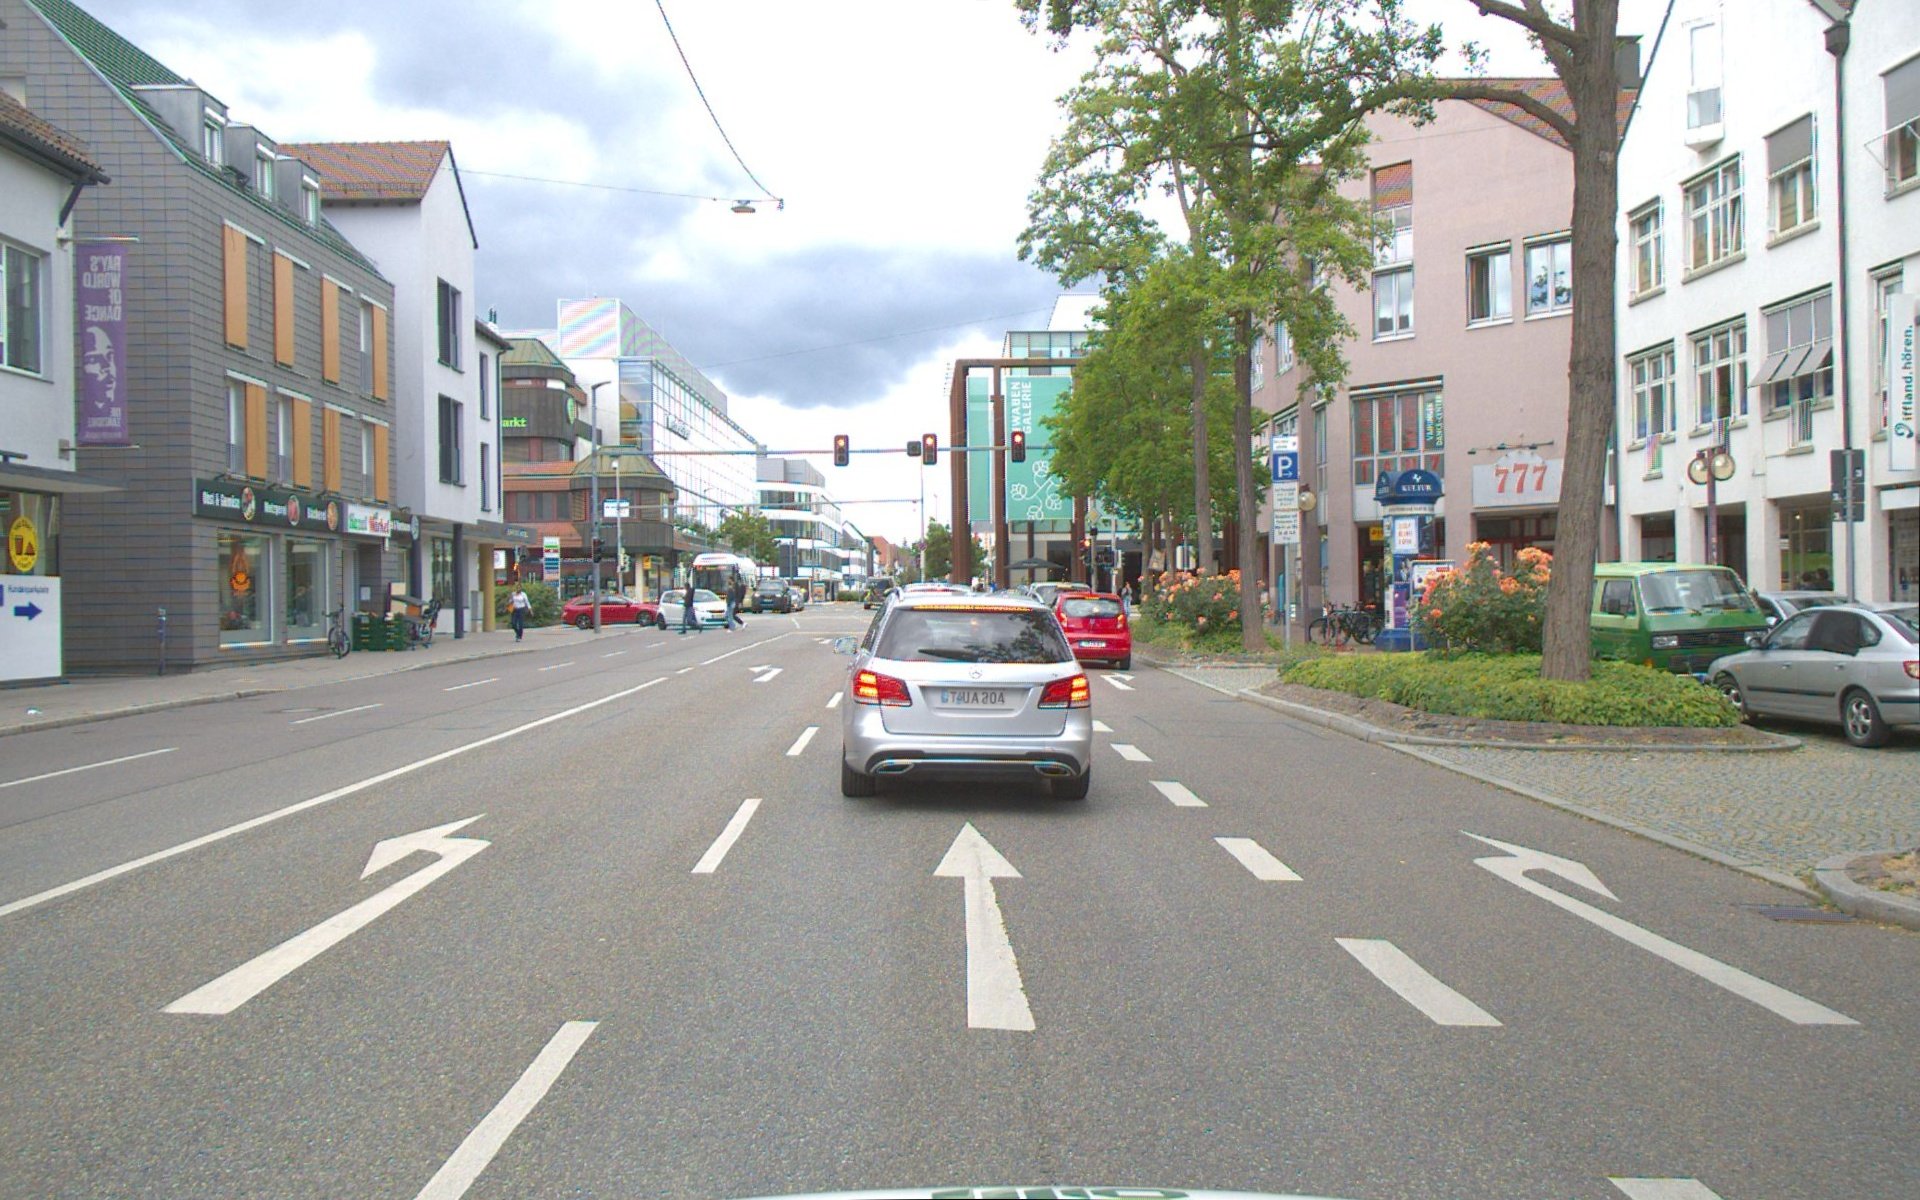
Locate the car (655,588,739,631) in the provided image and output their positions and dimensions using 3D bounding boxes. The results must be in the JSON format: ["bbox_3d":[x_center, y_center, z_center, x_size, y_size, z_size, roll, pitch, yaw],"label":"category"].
[{"bbox_3d":[-9.801,0.361,61.540,1.564,1.514,3.414,-2,1,-40],"label":"car"}]

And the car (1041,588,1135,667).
[{"bbox_3d":[2.542,0.521,33.380,1.554,1.468,3.348,1,0,-1],"label":"car"}]

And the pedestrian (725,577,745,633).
[{"bbox_3d":[-7.418,0.164,54.457,0.635,1.821,0.682,-1,0,-9],"label":"pedestrian"}]

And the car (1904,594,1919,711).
[{"bbox_3d":[12.660,0.621,18.104,1.957,1.400,4.417,-2,1,-3],"label":"car"}]

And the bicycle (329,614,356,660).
[{"bbox_3d":[-13.411,0.795,35.932,0.320,0.970,1.479,-1,0,-12],"label":"bicycle"}]

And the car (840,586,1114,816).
[{"bbox_3d":[0.086,0.658,13.079,1.778,1.474,4.369,1,0,-1],"label":"car"}]

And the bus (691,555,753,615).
[{"bbox_3d":[-13.792,-0.891,96.326,2.633,3.318,8.650,0,1,-2],"label":"bus"}]

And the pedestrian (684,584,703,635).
[{"bbox_3d":[-8.801,0.304,54.645,0.548,1.679,0.651,-1,0,-15],"label":"pedestrian"}]

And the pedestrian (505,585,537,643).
[{"bbox_3d":[-12.706,0.398,47.870,0.713,1.638,0.753,-1,0,-1],"label":"pedestrian"}]

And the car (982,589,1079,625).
[{"bbox_3d":[3.041,0.296,72.039,4.102,1.557,1.790,0,0,-1],"label":"car"}]

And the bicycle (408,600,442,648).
[{"bbox_3d":[-13.863,0.605,42.880,0.379,1.207,1.824,-1,0,-4],"label":"bicycle"}]

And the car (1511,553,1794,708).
[{"bbox_3d":[9.588,0.371,23.356,1.843,1.909,4.603,-2,1,-3],"label":"car"}]

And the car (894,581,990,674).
[{"bbox_3d":[-0.343,0.457,29.643,1.606,1.554,3.393,1,0,-1],"label":"car"}]

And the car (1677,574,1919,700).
[{"bbox_3d":[12.188,0.456,23.647,1.760,1.569,4.392,-2,1,-3],"label":"car"}]

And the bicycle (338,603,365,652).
[{"bbox_3d":[-14.706,0.661,40.005,0.379,1.147,1.286,-1,0,-11],"label":"bicycle"}]

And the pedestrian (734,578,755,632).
[{"bbox_3d":[-7.208,0.161,55.276,0.633,1.806,0.569,-1,0,-11],"label":"pedestrian"}]

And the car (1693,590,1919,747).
[{"bbox_3d":[9.952,0.644,18.097,1.727,1.476,4.417,-1,0,-3],"label":"car"}]

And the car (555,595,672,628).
[{"bbox_3d":[-14.983,0.493,71.661,4.618,1.393,1.964,0,0,0],"label":"car"}]

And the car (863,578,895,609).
[{"bbox_3d":[-5.193,-0.431,106.574,1.953,1.983,4.949,0,1,-2],"label":"car"}]

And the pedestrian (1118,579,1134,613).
[{"bbox_3d":[8.257,-0.191,82.125,0.641,1.679,0.557,-1,0,-15],"label":"pedestrian"}]

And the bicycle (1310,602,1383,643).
[{"bbox_3d":[9.801,0.558,41.981,1.731,1.014,0.447,-1,0,3],"label":"bicycle"}]

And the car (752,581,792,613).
[{"bbox_3d":[-10.631,-0.175,93.733,1.953,1.735,4.063,0,1,-2],"label":"car"}]

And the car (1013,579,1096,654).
[{"bbox_3d":[2.204,0.348,39.357,1.555,1.662,3.914,1,0,-3],"label":"car"}]

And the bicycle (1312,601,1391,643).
[{"bbox_3d":[9.801,0.542,41.434,1.861,1.014,0.468,-1,0,3],"label":"bicycle"}]

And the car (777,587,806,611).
[{"bbox_3d":[-10.316,-0.083,101.460,1.524,1.417,3.286,0,1,-2],"label":"car"}]
